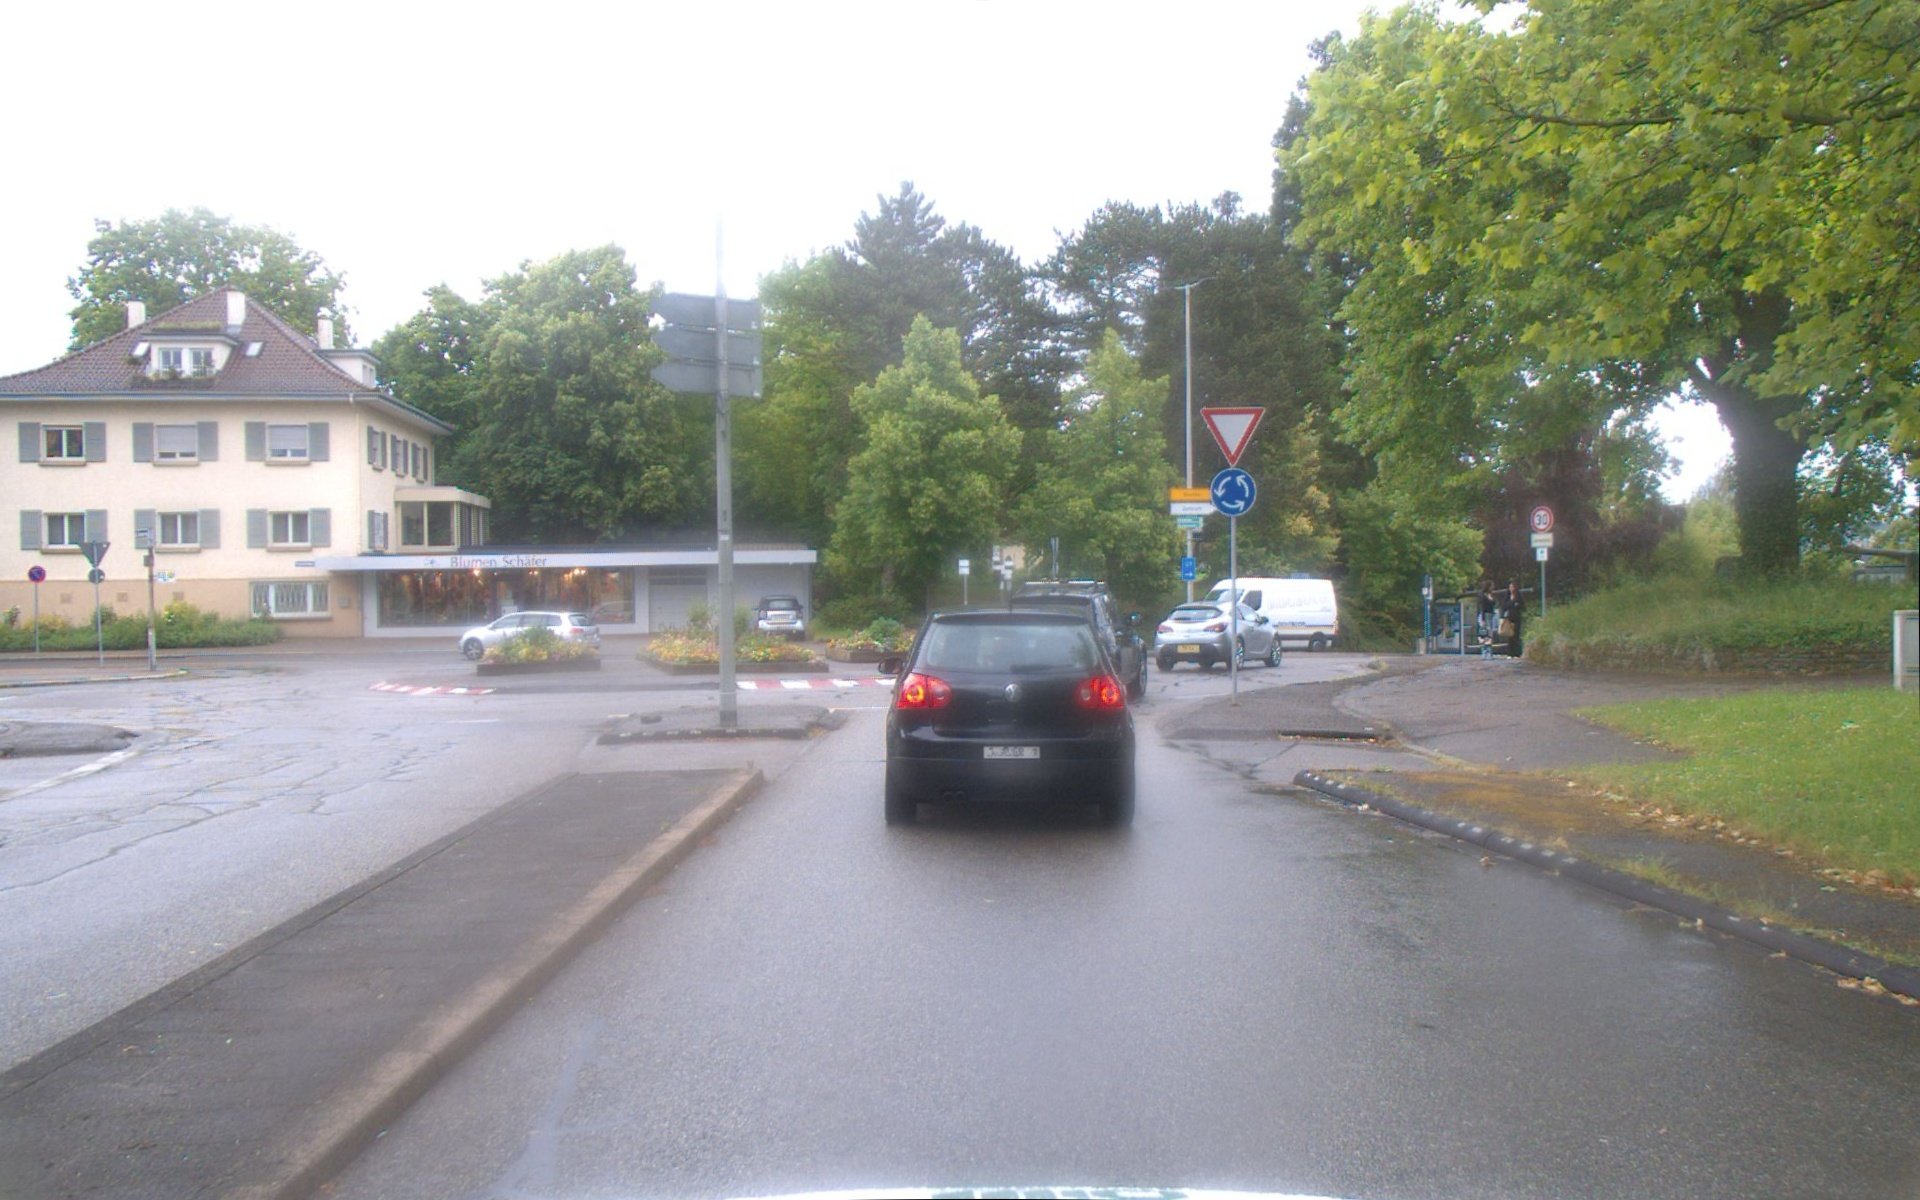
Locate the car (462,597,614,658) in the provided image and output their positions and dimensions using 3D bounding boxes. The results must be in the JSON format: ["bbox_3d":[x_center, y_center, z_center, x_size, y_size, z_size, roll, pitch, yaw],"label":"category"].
[{"bbox_3d":[-12.874,0.831,50.522,4.043,1.772,2.001,0,-1,18],"label":"car"}]

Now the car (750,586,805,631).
[{"bbox_3d":[-6.535,0.294,59.048,1.779,1.512,3.824,-2,0,-8],"label":"car"}]

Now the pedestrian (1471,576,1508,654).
[{"bbox_3d":[11.876,0.339,37.087,0.519,1.743,0.633,1,-1,-16],"label":"pedestrian"}]

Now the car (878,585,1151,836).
[{"bbox_3d":[0.519,0.696,12.494,1.727,1.565,4.002,0,0,5],"label":"car"}]

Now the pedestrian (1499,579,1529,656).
[{"bbox_3d":[12.700,0.393,37.915,0.620,1.743,0.530,0,-1,15],"label":"pedestrian"}]

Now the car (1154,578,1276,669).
[{"bbox_3d":[5.642,0.485,36.178,1.728,1.833,4.246,-2,-1,21],"label":"car"}]

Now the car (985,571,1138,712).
[{"bbox_3d":[1.386,0.570,24.203,1.729,1.833,4.243,-2,0,-3],"label":"car"}]

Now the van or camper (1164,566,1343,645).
[{"bbox_3d":[9.427,0.213,52.955,5.590,2.420,2.179,1,-1,-30],"label":"van or camper"}]
